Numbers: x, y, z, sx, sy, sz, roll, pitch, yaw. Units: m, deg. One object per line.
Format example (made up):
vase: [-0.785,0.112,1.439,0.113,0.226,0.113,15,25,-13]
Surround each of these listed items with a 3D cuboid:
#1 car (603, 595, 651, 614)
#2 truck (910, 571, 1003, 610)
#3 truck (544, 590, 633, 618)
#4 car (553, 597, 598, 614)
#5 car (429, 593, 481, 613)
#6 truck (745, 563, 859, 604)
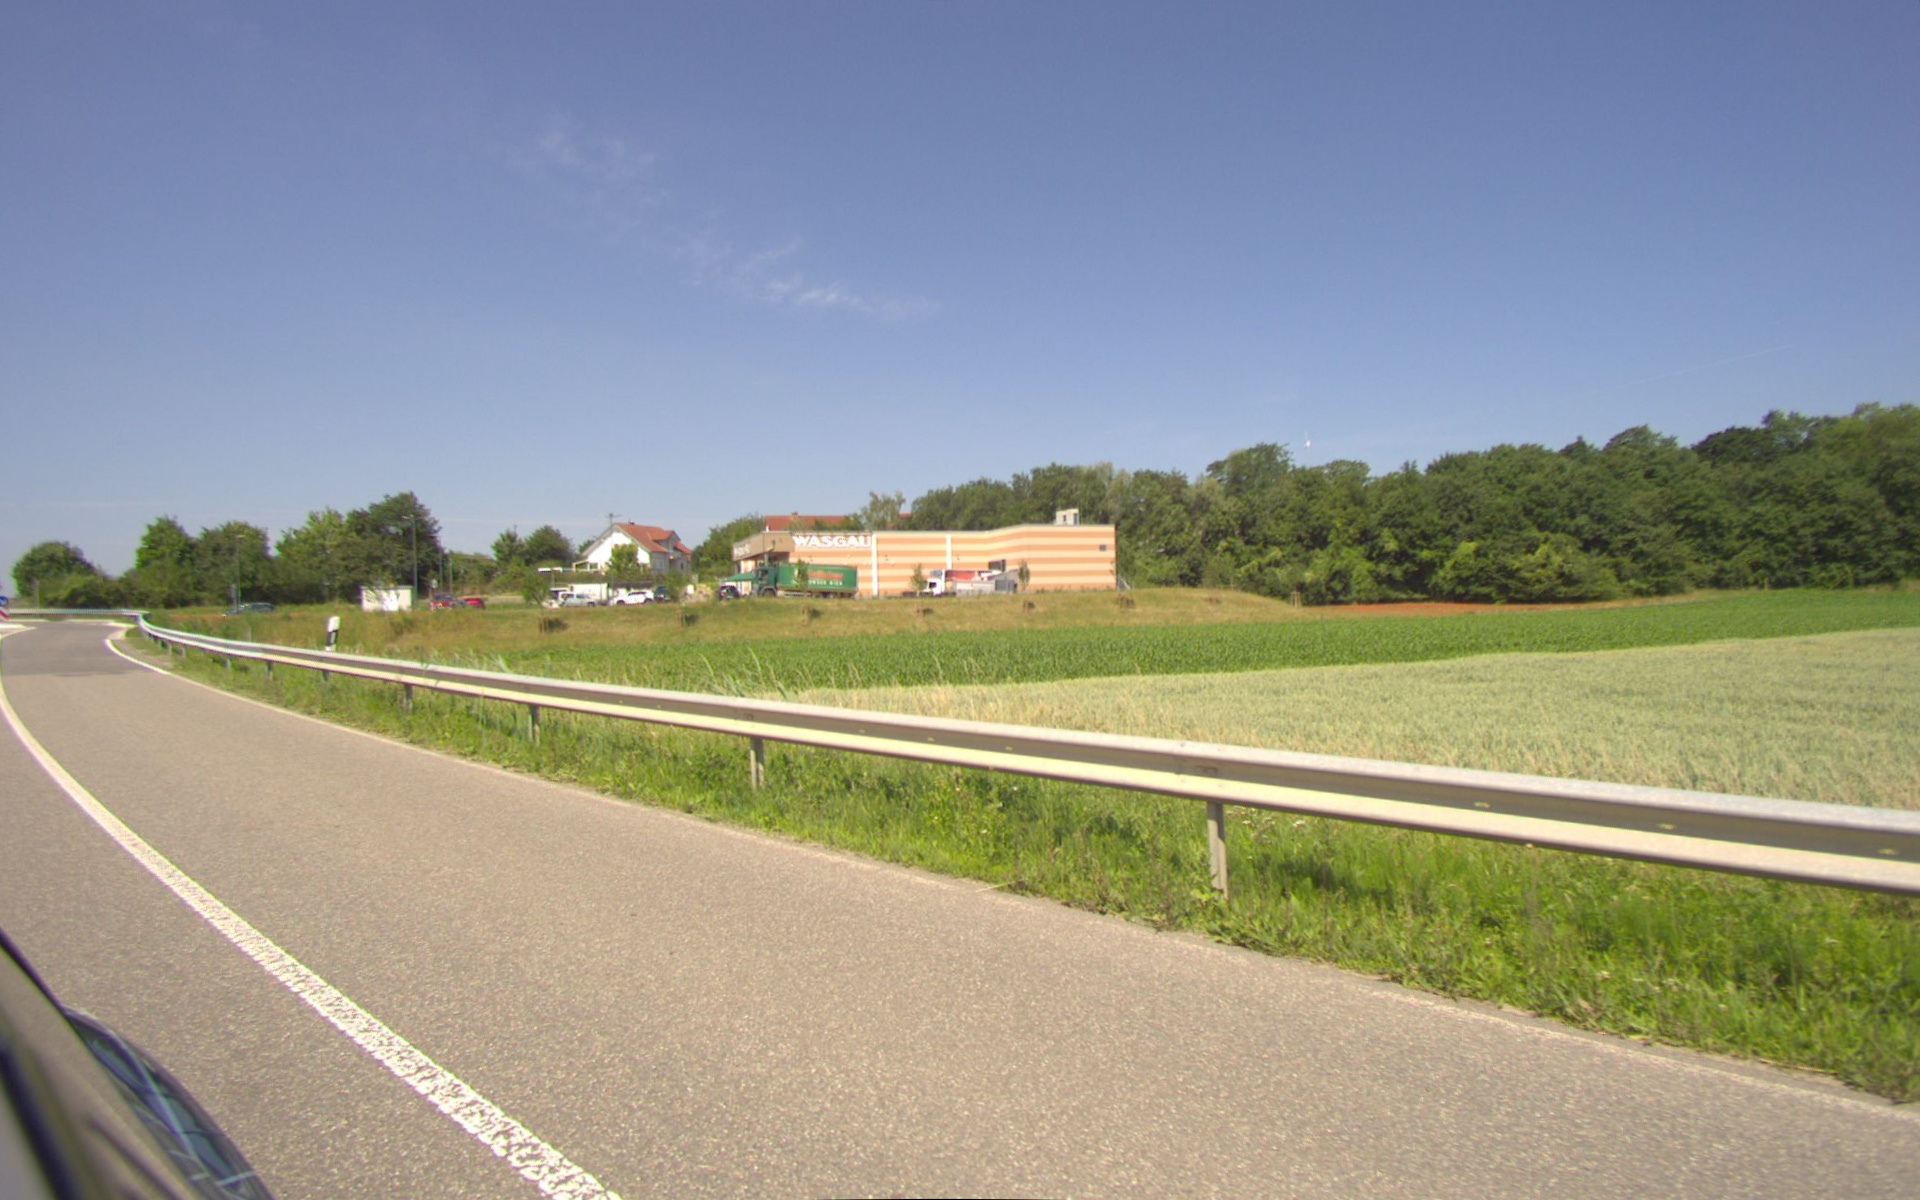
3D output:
car: [-32.707,0.446,99.396,4.258,1.716,2.007,-2,2,-22]
truck: [-0.334,-1.017,100.686,8.729,3.590,2.888,-2,2,-21]
truck: [-48.048,0.477,131.172,10.546,3.215,2.453,-2,2,-37]
car: [-40.087,0.554,105.457,4.258,1.609,2.007,-2,2,-24]
car: [-48.790,0.274,97.786,4.258,1.716,2.007,-2,2,-20]
truck: [-14.293,-1.541,91.678,9.772,3.503,2.887,-2,2,-17]
